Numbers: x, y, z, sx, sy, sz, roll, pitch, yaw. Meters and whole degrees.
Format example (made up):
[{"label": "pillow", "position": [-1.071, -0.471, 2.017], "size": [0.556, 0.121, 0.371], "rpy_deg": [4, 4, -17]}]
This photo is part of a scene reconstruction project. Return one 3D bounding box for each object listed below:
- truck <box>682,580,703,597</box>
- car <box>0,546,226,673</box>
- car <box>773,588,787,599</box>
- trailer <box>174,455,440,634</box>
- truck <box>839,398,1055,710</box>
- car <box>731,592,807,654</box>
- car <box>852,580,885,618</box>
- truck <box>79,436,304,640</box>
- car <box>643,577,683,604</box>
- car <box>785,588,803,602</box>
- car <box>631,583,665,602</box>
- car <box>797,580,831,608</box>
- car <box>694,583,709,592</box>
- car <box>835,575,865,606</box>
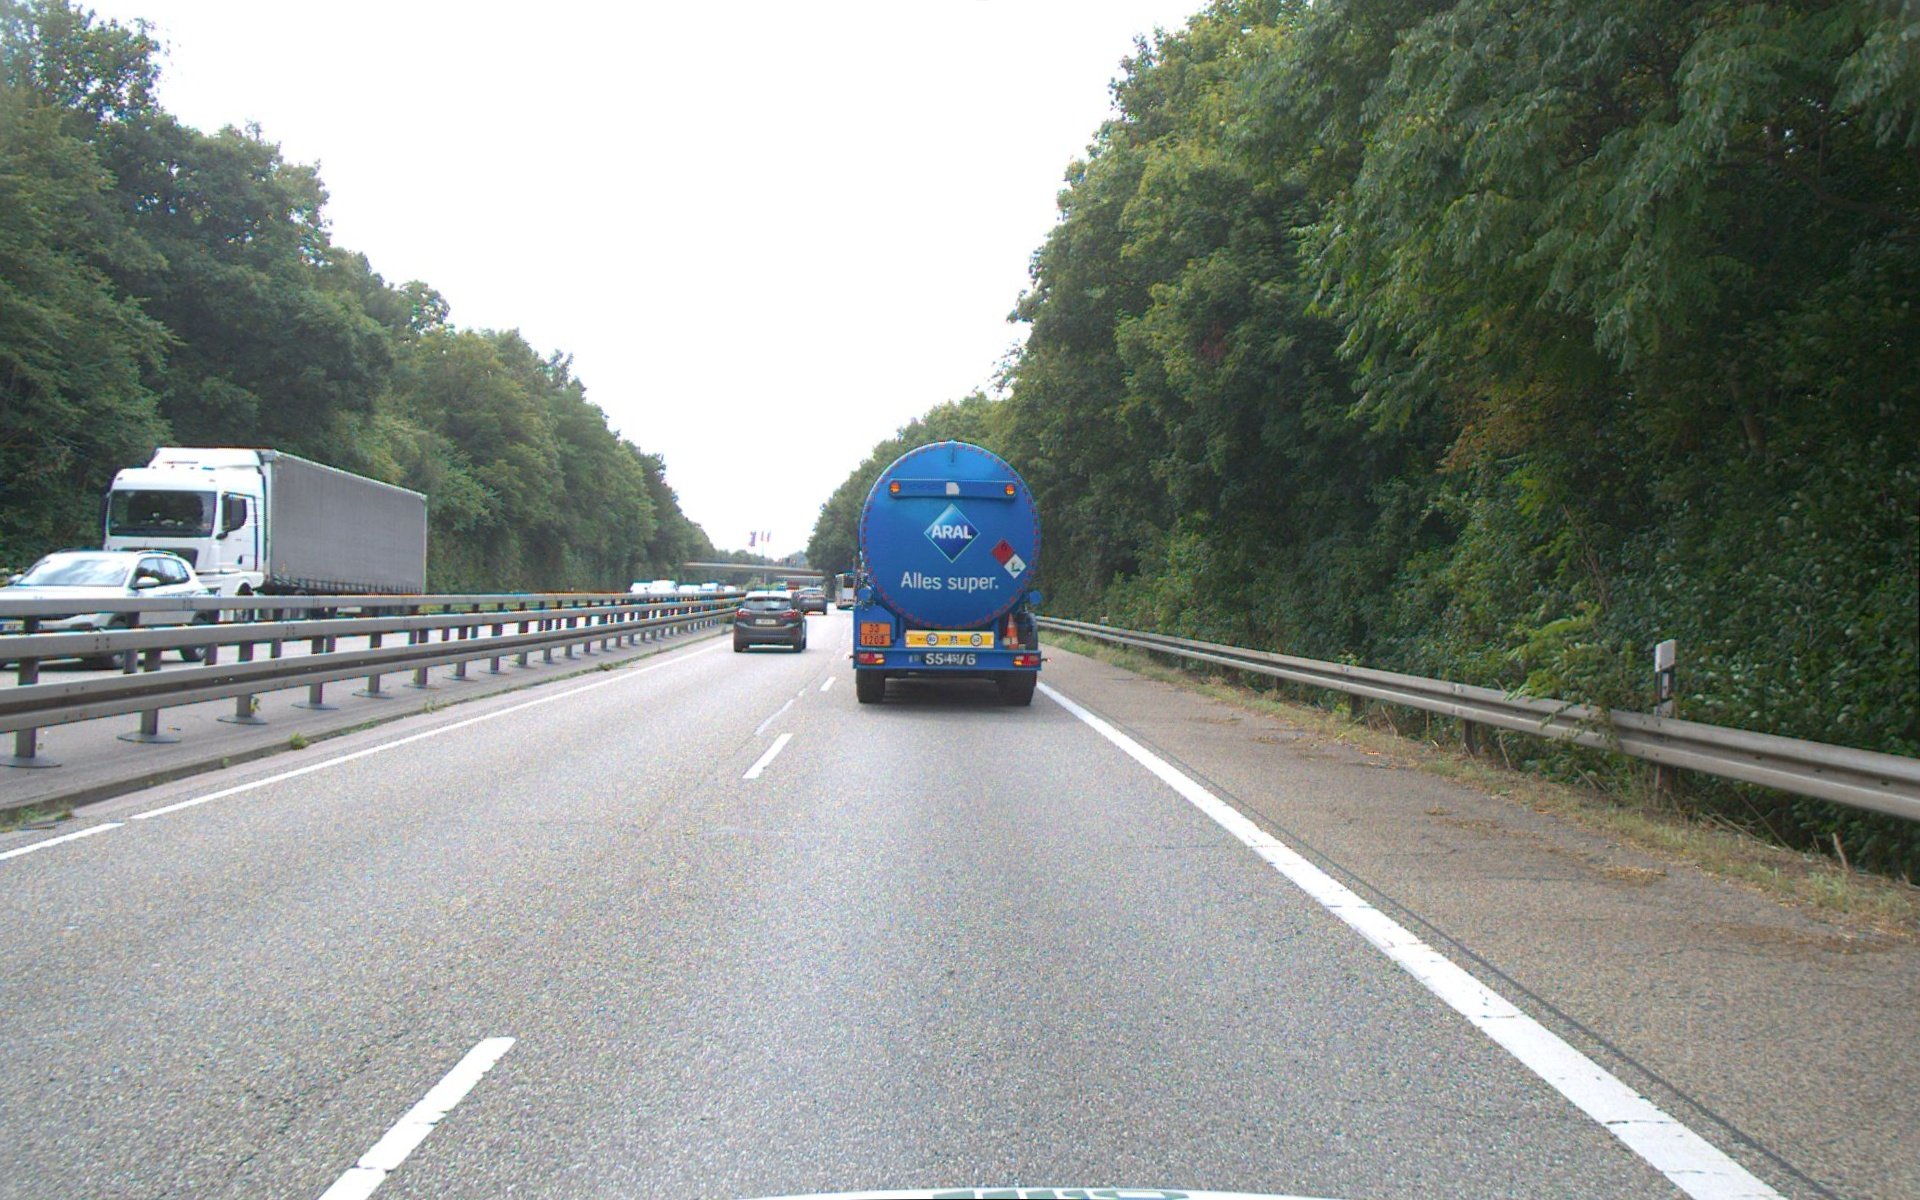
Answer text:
[{"label": "truck", "position": [-29.057, -1.253, 179.534], "size": [1.955, 1.769, 3.995], "rpy_deg": [0, 0, -6]}, {"label": "car", "position": [-11.816, 0.109, 22.670], "size": [1.755, 1.576, 4.128], "rpy_deg": [0, 0, -1]}, {"label": "car", "position": [-27.948, -1.009, 256.554], "size": [1.954, 1.579, 3.997], "rpy_deg": [0, 0, -4]}, {"label": "trailer", "position": [-17.075, -1.302, 44.586], "size": [2.610, 4.116, 12.866], "rpy_deg": [0, 0, -3]}, {"label": "truck", "position": [-0.197, -0.617, 24.629], "size": [2.699, 3.914, 7.687], "rpy_deg": [0, 1, -1]}, {"label": "car", "position": [-4.787, 0.537, 41.966], "size": [1.791, 1.483, 4.634], "rpy_deg": [0, 0, -5]}, {"label": "car", "position": [-5.593, -0.066, 101.173], "size": [1.954, 2.260, 3.998], "rpy_deg": [0, 0, -3]}, {"label": "truck", "position": [-16.666, -1.264, 36.271], "size": [2.639, 4.134, 5.319], "rpy_deg": [0, 0, -3]}, {"label": "car", "position": [-16.460, -0.518, 91.823], "size": [1.610, 1.413, 4.289], "rpy_deg": [0, 0, -2]}, {"label": "car", "position": [-19.362, -0.596, 192.572], "size": [1.918, 1.595, 3.993], "rpy_deg": [0, 0, -8]}, {"label": "car", "position": [-21.399, -0.514, 113.606], "size": [1.707, 1.210, 4.289], "rpy_deg": [0, 0, -2]}, {"label": "car", "position": [-8.957, -0.377, 101.071], "size": [1.792, 1.637, 4.158], "rpy_deg": [0, 0, -9]}, {"label": "car", "position": [-34.620, -1.652, 221.605], "size": [1.708, 1.210, 4.287], "rpy_deg": [0, 0, -4]}, {"label": "car", "position": [-8.470, -0.724, 127.362], "size": [1.952, 2.284, 4.000], "rpy_deg": [0, 0, 1]}]
